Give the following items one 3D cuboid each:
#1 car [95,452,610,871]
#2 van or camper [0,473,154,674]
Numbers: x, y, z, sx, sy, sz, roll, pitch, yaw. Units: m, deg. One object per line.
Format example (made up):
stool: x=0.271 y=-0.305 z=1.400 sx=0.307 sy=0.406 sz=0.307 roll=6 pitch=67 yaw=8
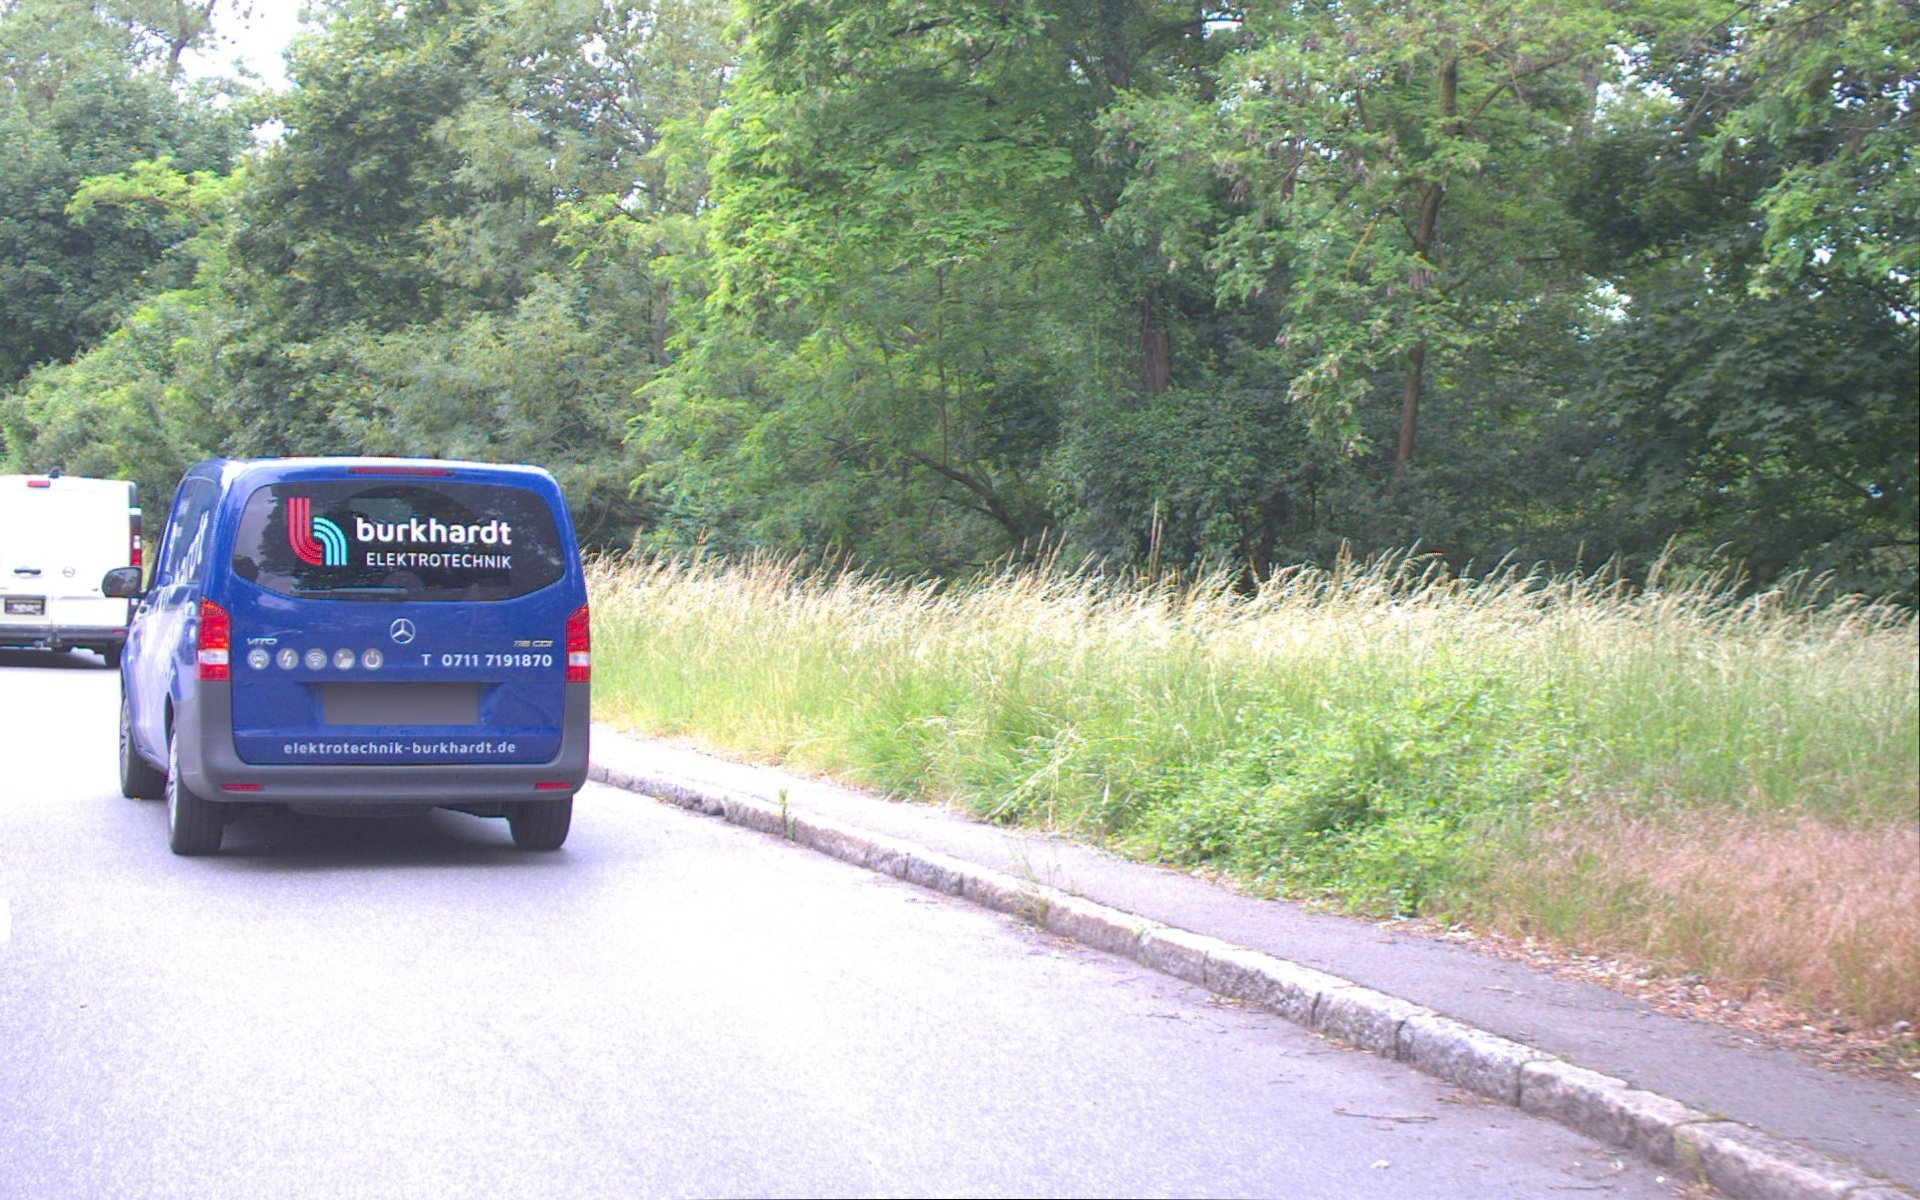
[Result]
car: x=-3.203 y=0.240 z=17.390 sx=1.913 sy=1.831 sz=4.295 roll=2 pitch=1 yaw=-18
van or camper: x=-9.998 y=-0.356 z=36.427 sx=2.019 sy=1.950 sz=4.898 roll=2 pitch=2 yaw=-23
